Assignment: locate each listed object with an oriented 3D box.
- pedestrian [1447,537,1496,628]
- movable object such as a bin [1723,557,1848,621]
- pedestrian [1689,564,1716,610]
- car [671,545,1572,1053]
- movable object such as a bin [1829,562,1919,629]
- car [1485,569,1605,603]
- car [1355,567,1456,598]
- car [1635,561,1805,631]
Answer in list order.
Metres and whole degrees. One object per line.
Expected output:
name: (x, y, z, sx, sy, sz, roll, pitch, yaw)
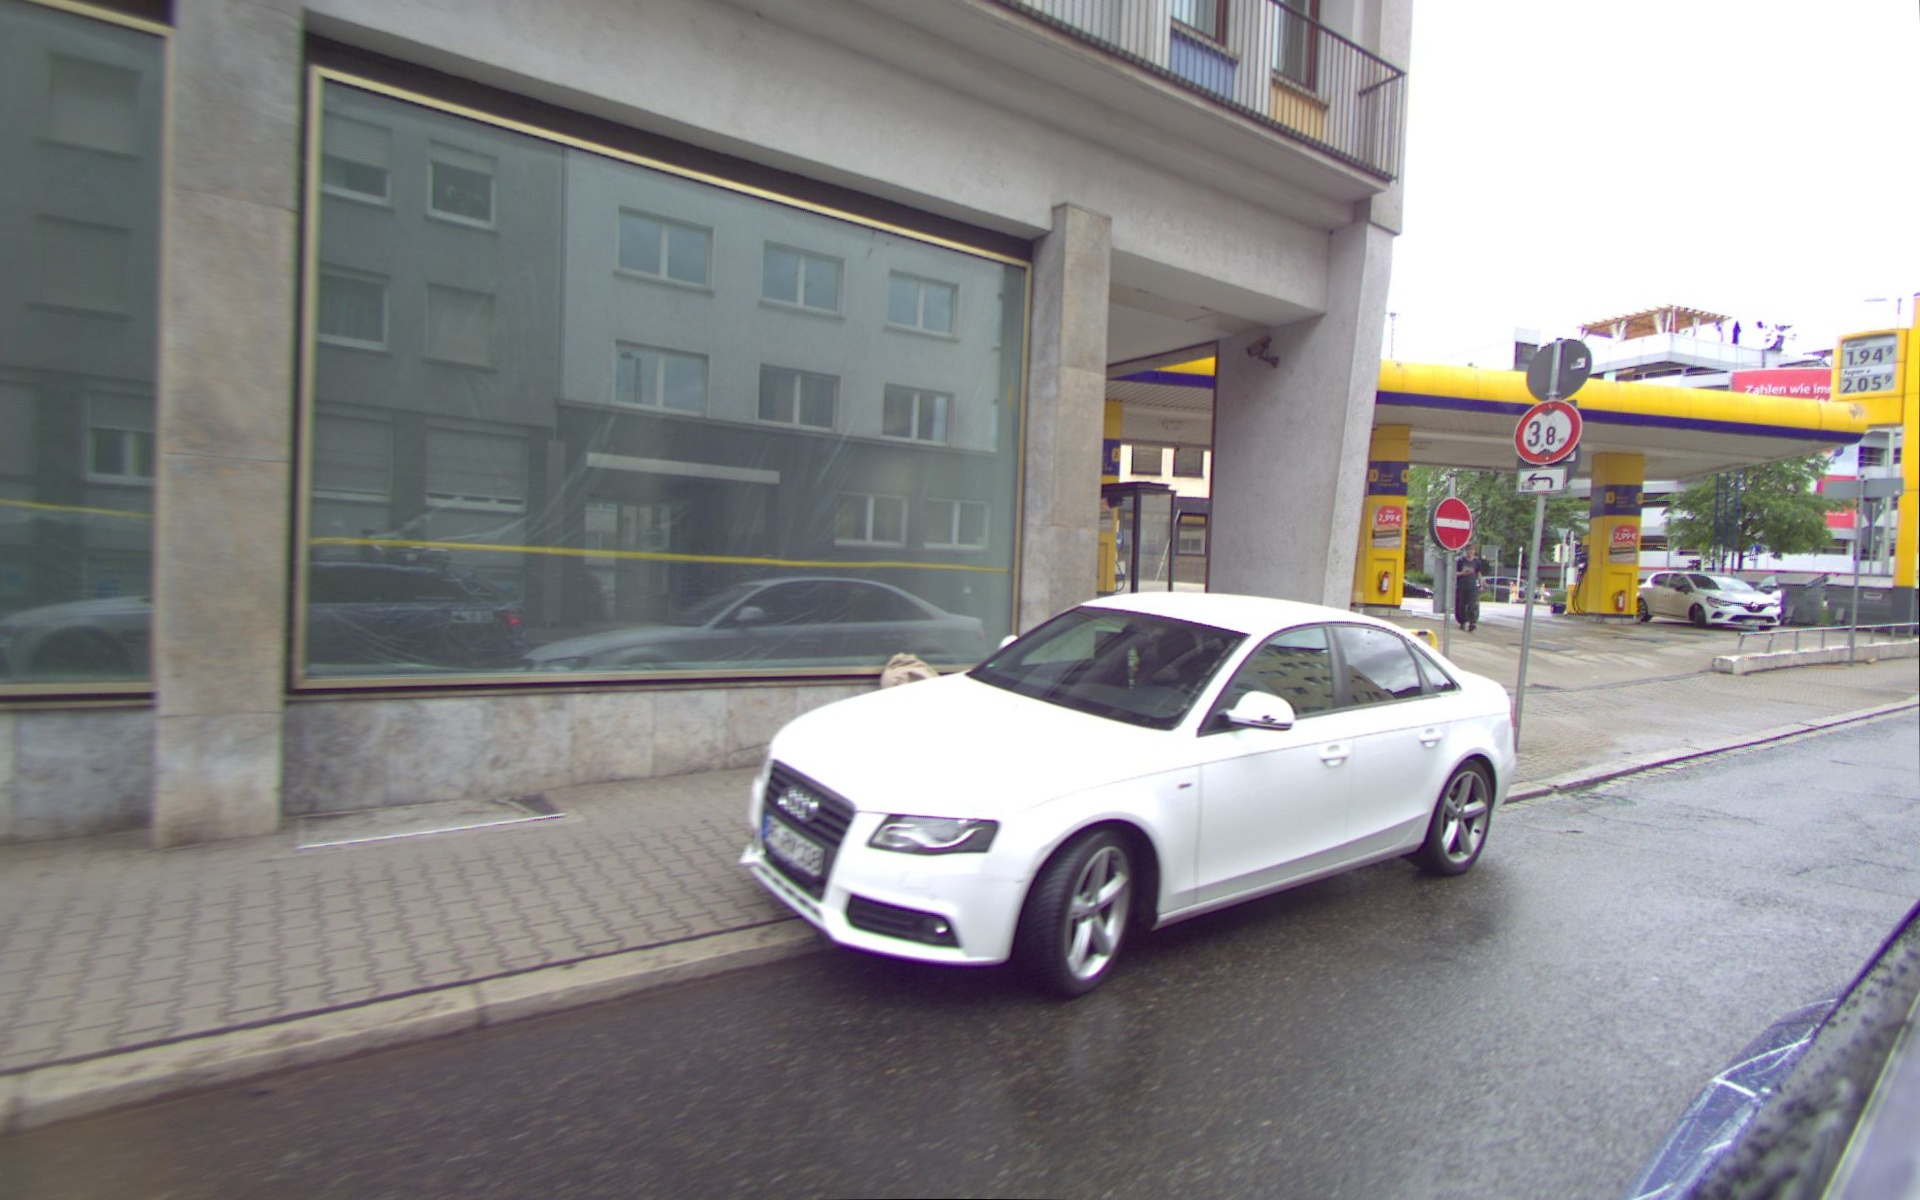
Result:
pedestrian: (10.491, -0.378, 20.766, 0.650, 1.792, 0.528, 4, 4, 13)
movable object such as a bin: (22.772, -0.309, 27.943, 1.739, 1.574, 2.165, 1, 4, -34)
pedestrian: (25.253, -0.438, 34.425, 0.566, 1.534, 0.477, 1, 0, 15)
car: (1.078, 0.605, 5.236, 4.523, 1.418, 1.901, 1, 7, -37)
movable object such as a bin: (24.097, -0.121, 26.051, 1.739, 1.593, 2.164, 1, 3, -34)
car: (30.444, -0.752, 52.789, 1.964, 1.652, 5.034, 1, 1, -40)
car: (25.843, -1.031, 58.823, 1.964, 1.652, 5.034, 1, 1, -40)
car: (19.397, -0.168, 26.068, 1.717, 1.459, 3.992, 3, 4, 9)
